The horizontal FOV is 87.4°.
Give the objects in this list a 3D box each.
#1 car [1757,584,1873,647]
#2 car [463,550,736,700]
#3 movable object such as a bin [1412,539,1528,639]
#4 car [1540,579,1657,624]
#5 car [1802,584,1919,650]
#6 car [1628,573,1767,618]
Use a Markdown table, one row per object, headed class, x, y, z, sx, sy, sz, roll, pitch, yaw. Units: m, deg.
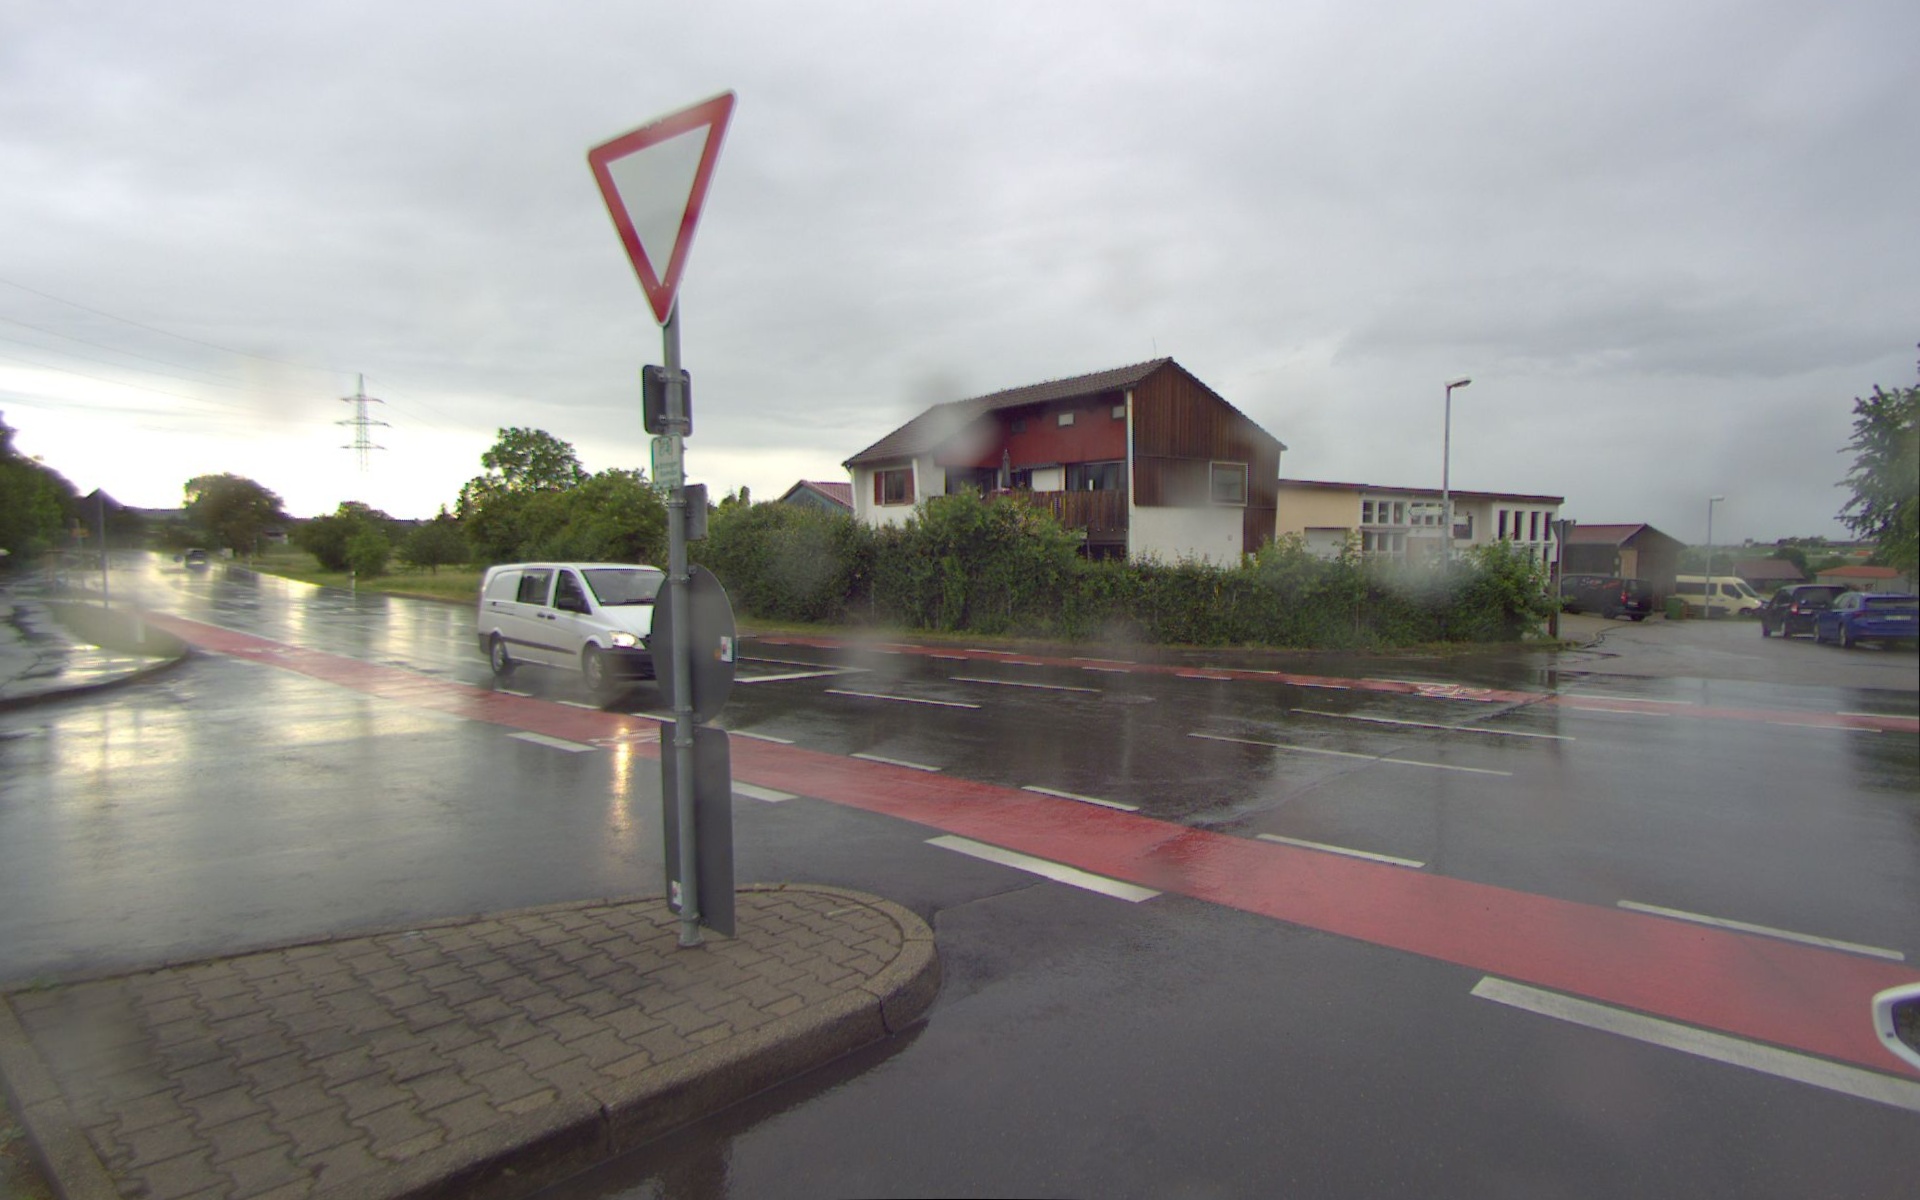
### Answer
| class | x | y | z | sx | sy | sz | roll | pitch | yaw |
| --- | --- | --- | --- | --- | --- | --- | --- | --- | --- |
| car | 27.520 | 0.454 | 32.493 | 2.044 | 1.859 | 4.461 | 1 | 1 | 30 |
| car | -5.937 | 0.286 | 16.127 | 5.295 | 2.045 | 1.894 | 2 | 1 | 42 |
| movable object such as a bin | 14.122 | -0.296 | 27.772 | 3.313 | 2.591 | 1.718 | 1 | 1 | -41 |
| car | 29.042 | 0.037 | 45.890 | 1.965 | 1.930 | 4.399 | 1 | 1 | -12 |
| car | 24.551 | 0.421 | 27.128 | 1.923 | 1.631 | 4.438 | 1 | 1 | 29 |
| car | 42.317 | -0.262 | 57.794 | 2.438 | 2.447 | 5.971 | 1 | 1 | -34 |
